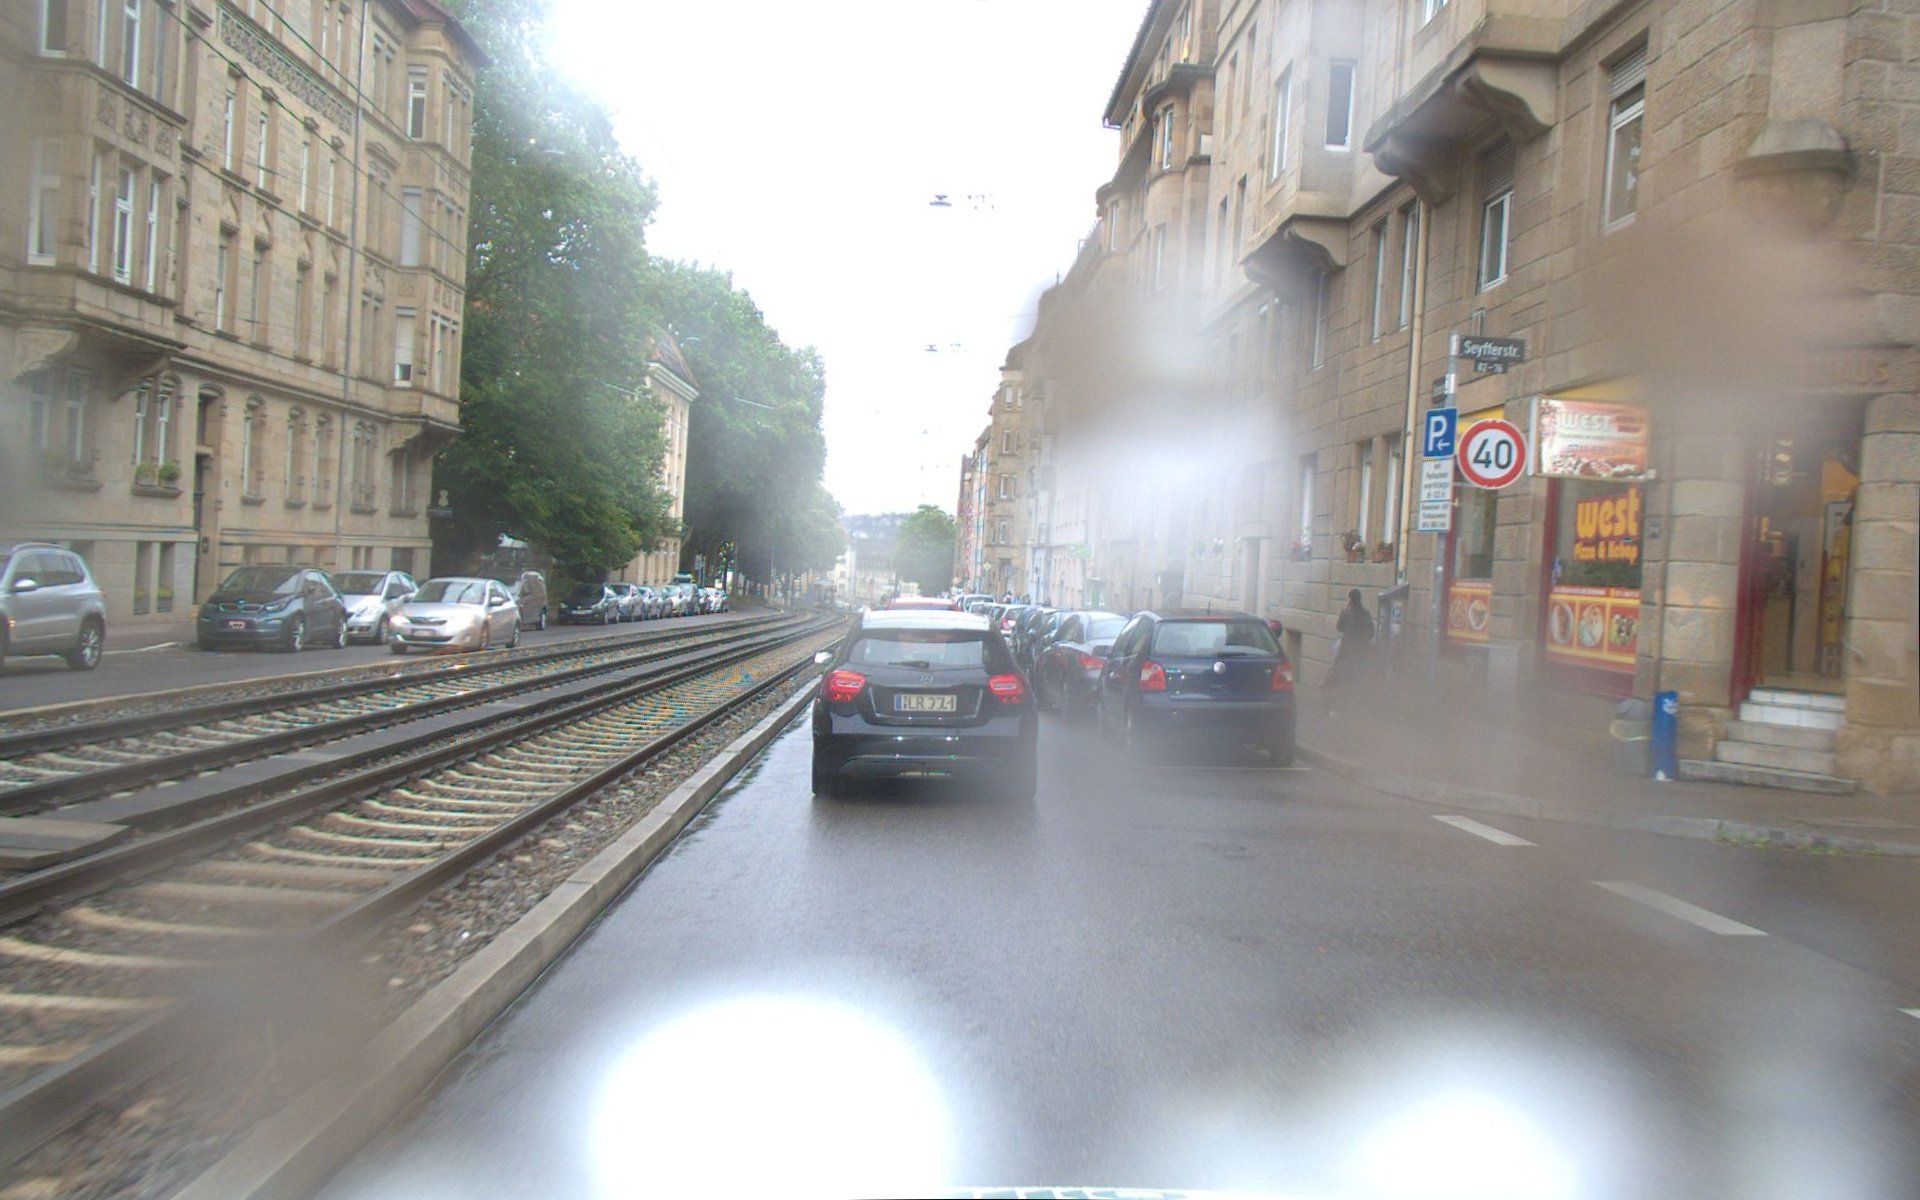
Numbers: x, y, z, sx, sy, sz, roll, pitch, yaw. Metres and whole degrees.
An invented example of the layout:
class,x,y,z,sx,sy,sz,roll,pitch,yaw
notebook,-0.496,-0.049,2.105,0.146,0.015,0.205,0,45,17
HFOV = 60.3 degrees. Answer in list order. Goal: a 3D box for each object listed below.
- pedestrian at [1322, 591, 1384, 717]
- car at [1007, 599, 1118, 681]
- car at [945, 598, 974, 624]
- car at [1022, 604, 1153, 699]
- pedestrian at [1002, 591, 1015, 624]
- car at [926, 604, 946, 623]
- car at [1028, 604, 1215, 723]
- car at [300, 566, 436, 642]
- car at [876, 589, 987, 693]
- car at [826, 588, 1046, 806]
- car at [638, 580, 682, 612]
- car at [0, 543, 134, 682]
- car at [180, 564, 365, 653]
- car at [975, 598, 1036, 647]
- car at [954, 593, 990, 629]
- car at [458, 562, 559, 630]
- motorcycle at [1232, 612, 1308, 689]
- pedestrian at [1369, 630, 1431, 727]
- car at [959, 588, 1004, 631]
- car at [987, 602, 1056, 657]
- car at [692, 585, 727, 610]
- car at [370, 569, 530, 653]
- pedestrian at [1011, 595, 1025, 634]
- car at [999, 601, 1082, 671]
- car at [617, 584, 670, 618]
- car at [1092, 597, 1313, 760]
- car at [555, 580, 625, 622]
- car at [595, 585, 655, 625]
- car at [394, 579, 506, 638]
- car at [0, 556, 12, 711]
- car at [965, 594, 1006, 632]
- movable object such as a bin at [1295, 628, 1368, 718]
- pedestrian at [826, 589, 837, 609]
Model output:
class,x,y,z,sx,sy,sz,roll,pitch,yaw
pedestrian,5.005,0.682,21.088,0.550,1.562,0.710,2,0,-2
car,1.989,0.751,33.221,1.752,1.488,4.081,2,0,-3
car,-0.057,0.670,103.412,1.659,1.556,3.999,2,0,-1
car,2.074,0.813,27.885,1.673,1.422,4.016,2,0,-3
pedestrian,2.720,0.426,92.797,0.730,1.866,1.038,0,0,0
car,-2.207,1.243,153.680,1.790,1.646,3.863,1,0,-1
car,2.049,0.774,22.239,1.720,1.411,4.481,0,0,-5
car,-13.000,0.079,36.556,1.660,1.550,3.854,1,0,-1
car,-0.511,0.665,28.764,1.749,1.608,3.999,2,0,-2
car,-0.235,0.706,13.814,1.548,1.531,3.573,2,0,-2
car,-14.123,-0.186,77.934,1.508,1.438,3.951,0,0,-2
car,-12.566,0.127,21.298,1.821,1.681,4.313,1,0,-3
car,-12.984,0.157,31.517,1.833,1.534,4.168,2,0,-2
car,1.412,0.688,52.373,1.634,1.459,3.954,1,0,-3
car,0.610,0.565,88.108,1.791,1.781,4.467,2,0,0
car,-13.236,-0.115,48.760,1.764,1.879,4.817,1,0,-2
motorcycle,5.338,0.845,28.641,0.691,1.219,2.745,2,0,-1
pedestrian,5.064,0.894,19.061,0.500,1.068,0.626,2,0,-2
car,0.920,0.402,73.284,1.755,1.796,4.210,1,0,-2
car,1.710,0.808,47.100,1.559,1.459,3.681,1,0,-4
car,-14.603,-0.134,96.689,1.469,1.415,3.987,0,0,0
car,-9.849,0.203,32.293,1.942,1.482,4.292,1,0,-3
pedestrian,2.663,0.681,76.499,0.595,1.794,0.688,0,0,-3
car,1.786,0.781,37.493,1.513,1.439,3.444,2,0,-3
car,-14.020,0.048,73.502,1.719,1.438,4.151,0,0,-2
car,2.362,0.712,16.977,1.637,1.469,3.789,0,0,-1
car,-13.641,0.029,61.192,1.812,1.489,4.547,0,0,-3
car,-13.794,0.193,68.353,1.719,1.563,4.541,0,0,-2
car,-13.069,0.207,42.622,1.727,1.422,4.267,1,0,-3
car,-9.618,0.281,13.338,1.669,1.412,3.781,2,0,1
car,1.049,0.533,68.805,1.538,1.487,3.598,2,0,-1
movable object such as a bin,4.939,0.961,22.031,0.652,1.122,1.123,3,0,-2
pedestrian,-10.788,-0.069,138.990,0.789,1.662,0.892,1,0,-1
